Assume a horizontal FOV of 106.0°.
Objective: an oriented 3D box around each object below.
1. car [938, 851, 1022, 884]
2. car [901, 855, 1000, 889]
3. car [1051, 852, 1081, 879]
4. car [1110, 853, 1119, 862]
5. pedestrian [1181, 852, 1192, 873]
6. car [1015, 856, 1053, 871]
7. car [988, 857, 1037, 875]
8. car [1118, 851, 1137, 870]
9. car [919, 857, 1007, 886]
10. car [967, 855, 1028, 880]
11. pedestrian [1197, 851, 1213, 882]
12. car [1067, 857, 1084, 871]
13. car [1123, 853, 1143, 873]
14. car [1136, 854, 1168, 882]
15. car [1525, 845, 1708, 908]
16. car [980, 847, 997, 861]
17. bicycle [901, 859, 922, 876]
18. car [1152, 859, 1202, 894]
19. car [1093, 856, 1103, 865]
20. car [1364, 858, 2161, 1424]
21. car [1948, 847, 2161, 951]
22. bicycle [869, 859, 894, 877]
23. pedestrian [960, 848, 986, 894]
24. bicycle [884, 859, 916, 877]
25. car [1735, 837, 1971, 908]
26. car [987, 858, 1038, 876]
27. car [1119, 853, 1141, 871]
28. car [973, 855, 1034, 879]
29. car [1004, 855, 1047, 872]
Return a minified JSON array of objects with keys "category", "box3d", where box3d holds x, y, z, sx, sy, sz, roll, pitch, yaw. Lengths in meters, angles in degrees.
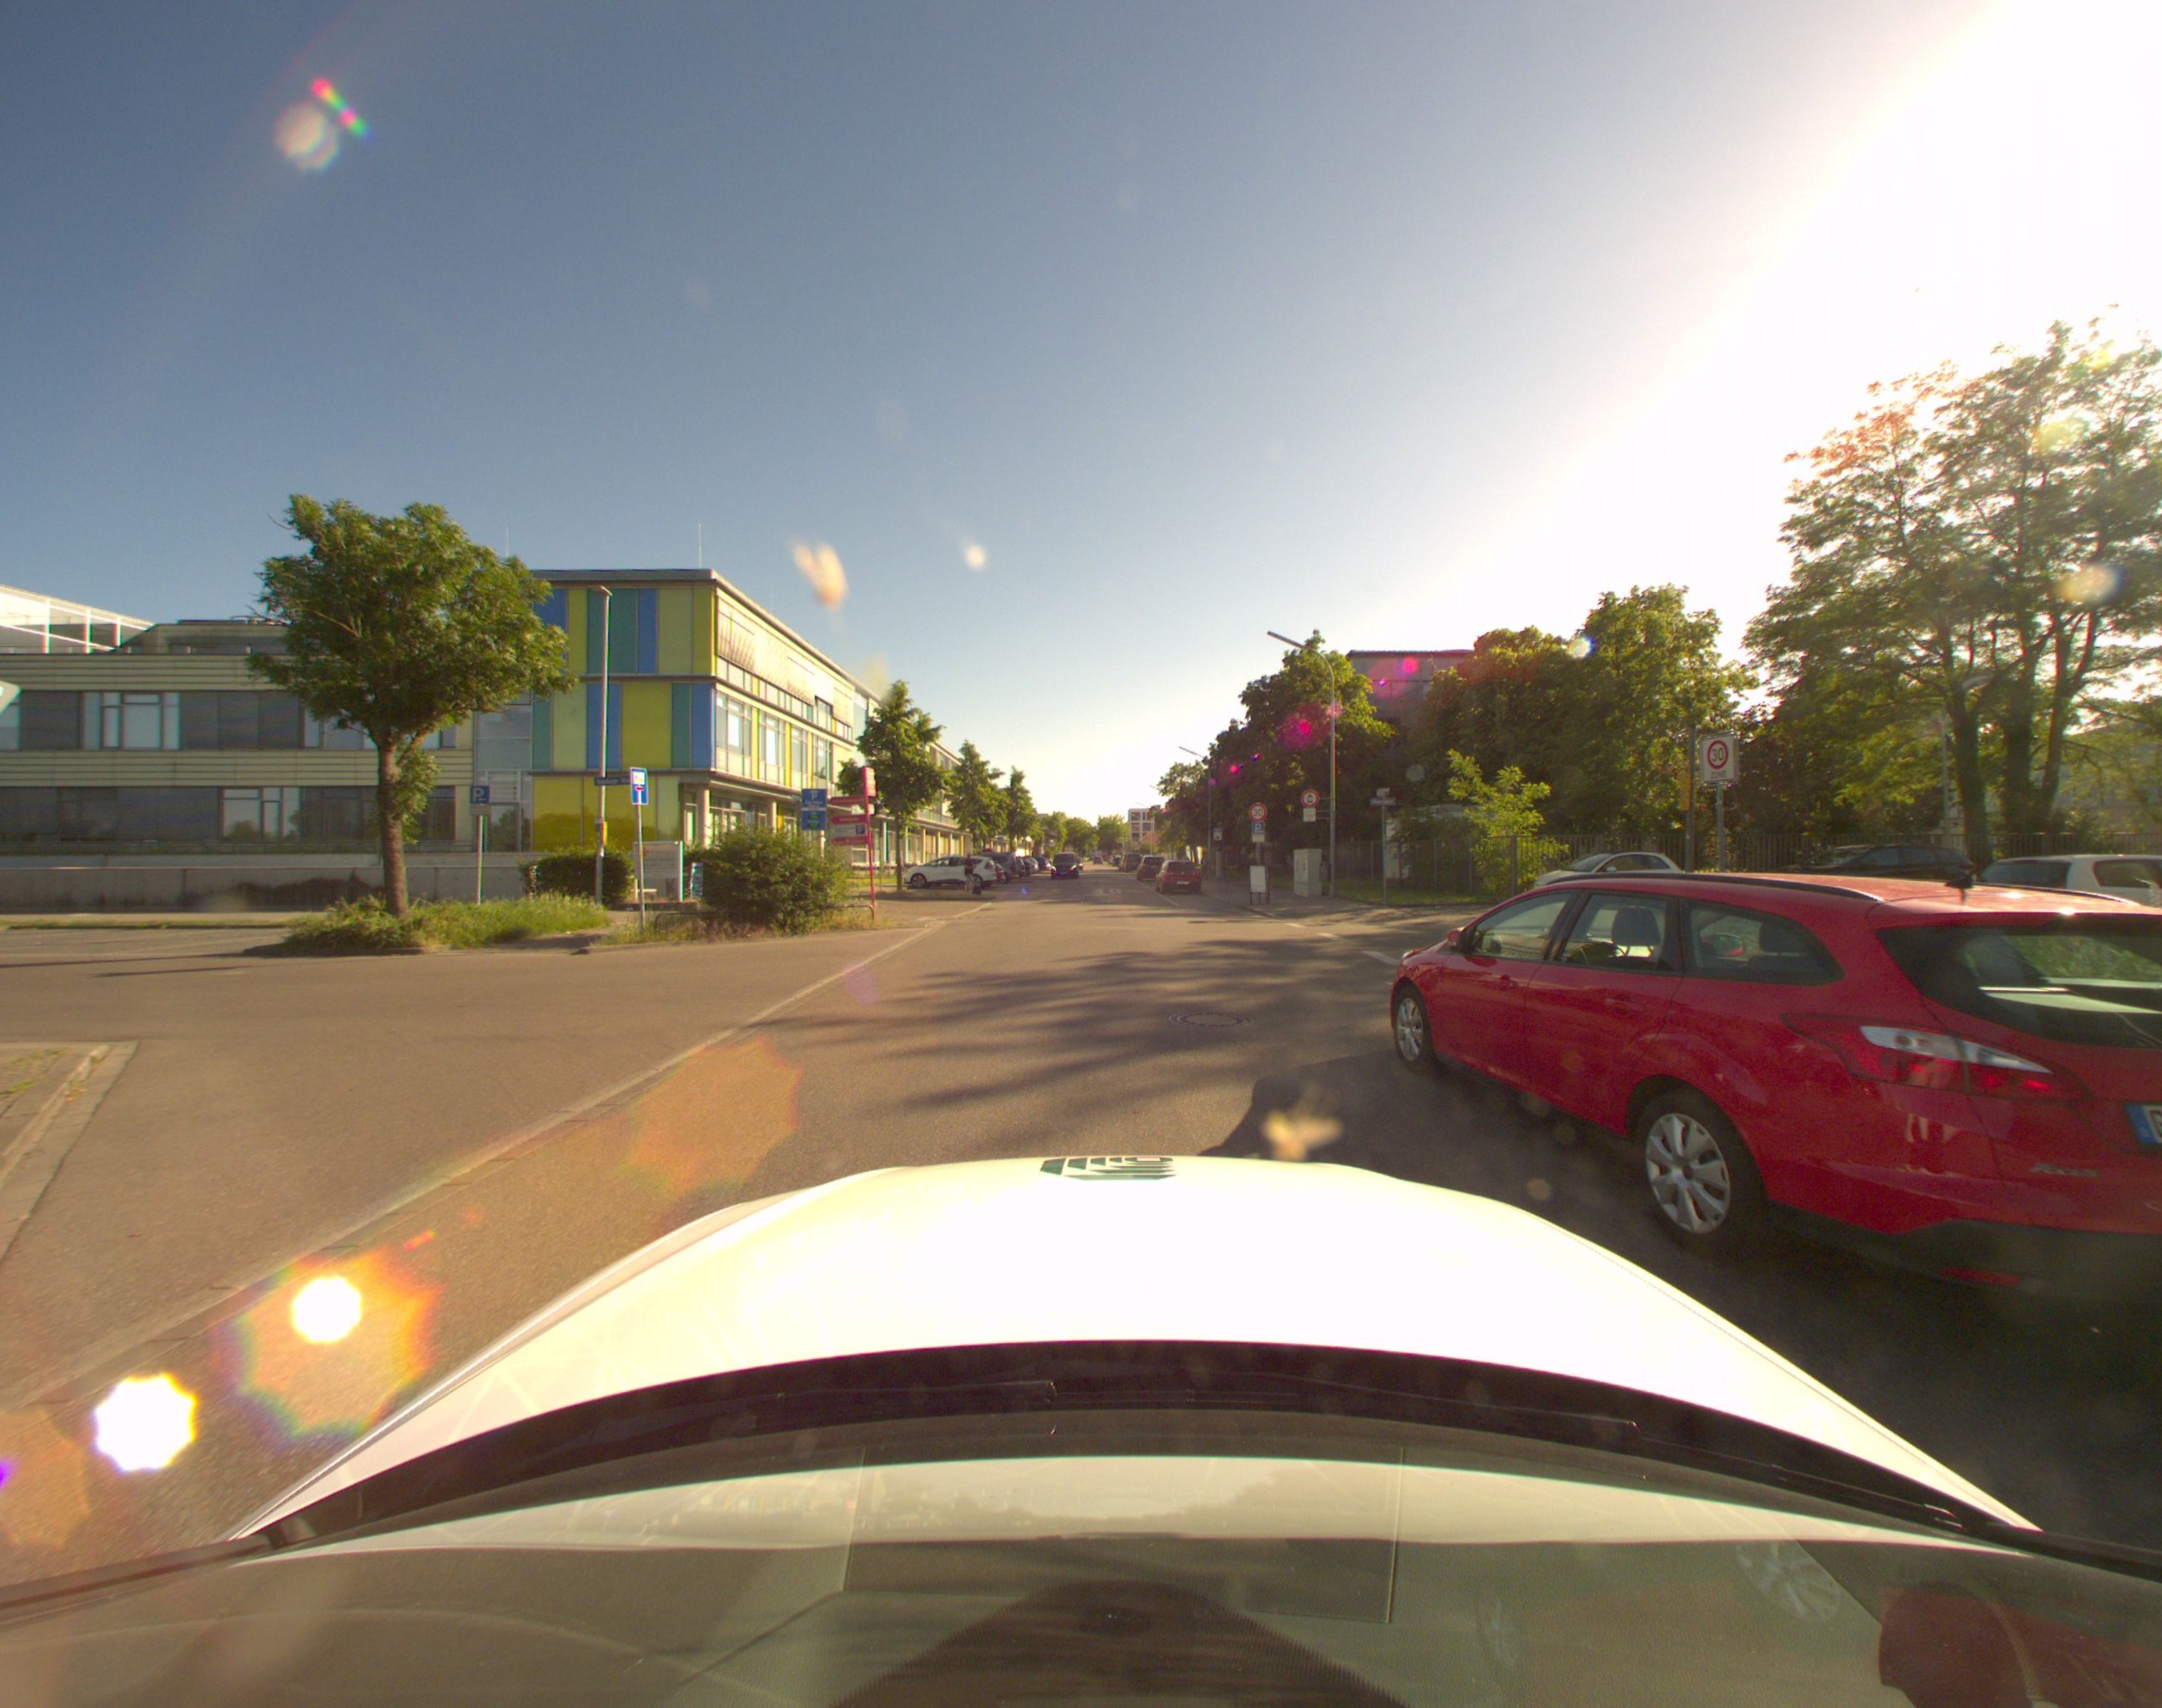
[{"category":"car","box3d":[-6.040,0.784,48.981,4.725,1.865,1.828,1,0,1]},{"category":"car","box3d":[-6.477,0.882,40.699,4.591,1.651,1.869,0,-1,4]},{"category":"car","box3d":[-1.049,0.796,59.210,1.948,1.867,5.255,0,0,1]},{"category":"car","box3d":[5.704,0.633,138.901,1.431,1.560,3.042,0,0,1]},{"category":"pedestrian","box3d":[8.520,0.719,66.009,0.696,1.661,0.752,-3,0,0]},{"category":"car","box3d":[-5.022,1.048,86.683,3.977,1.552,1.998,0,0,-2]},{"category":"car","box3d":[-5.963,1.032,71.723,4.204,1.462,1.870,1,0,-3]},{"category":"car","box3d":[5.108,0.677,90.265,1.868,1.978,4.000,-1,0,1]},{"category":"car","box3d":[-6.230,0.934,43.333,4.418,1.501,1.828,0,-1,1]},{"category":"car","box3d":[-5.699,0.939,55.973,3.978,1.607,1.870,1,0,-3]},{"category":"pedestrian","box3d":[7.243,0.741,47.556,0.715,1.758,0.885,-3,0,1]},{"category":"car","box3d":[-0.582,1.125,88.889,1.698,1.451,4.087,-2,0,1]},{"category":"car","box3d":[4.956,0.830,77.776,1.727,1.830,3.906,0,0,1]},{"category":"car","box3d":[4.571,0.856,52.814,1.805,1.666,4.594,1,1,2]},{"category":"car","box3d":[13.313,0.538,20.404,3.533,1.486,1.601,-1,0,1]},{"category":"car","box3d":[-13.613,-0.003,120.555,1.987,2.014,4.000,0,-1,1]},{"category":"bicycle","box3d":[-11.989,0.928,57.615,0.888,1.111,1.892,1,0,4]},{"category":"car","box3d":[4.261,0.950,36.773,1.714,1.455,4.651,1,0,0]},{"category":"car","box3d":[2.981,1.121,142.476,1.737,1.543,4.000,0,0,1]},{"category":"car","box3d":[3.218,0.796,4.424,1.813,1.499,4.452,1,0,0]},{"category":"car","box3d":[15.662,0.633,12.234,3.310,1.458,1.717,-1,0,5]},{"category":"bicycle","box3d":[-13.305,0.935,54.417,0.864,1.153,1.998,1,-1,10]},{"category":"pedestrian","box3d":[-4.417,0.677,33.285,0.854,1.842,0.826,1,0,2]},{"category":"bicycle","box3d":[-11.942,0.917,53.827,0.861,1.153,2.385,1,-1,22]},{"category":"car","box3d":[18.934,0.442,20.114,4.137,1.637,1.756,-1,0,1]},{"category":"car","box3d":[-5.442,1.018,64.783,3.978,1.358,1.741,1,0,-3]},{"category":"car","box3d":[5.054,0.817,84.017,1.987,1.823,4.199,-1,0,1]},{"category":"car","box3d":[-5.577,0.912,58.927,4.237,1.612,2.046,1,0,-3]},{"category":"car","box3d":[-5.571,0.960,81.723,4.204,1.603,1.870,1,0,-3]}]
